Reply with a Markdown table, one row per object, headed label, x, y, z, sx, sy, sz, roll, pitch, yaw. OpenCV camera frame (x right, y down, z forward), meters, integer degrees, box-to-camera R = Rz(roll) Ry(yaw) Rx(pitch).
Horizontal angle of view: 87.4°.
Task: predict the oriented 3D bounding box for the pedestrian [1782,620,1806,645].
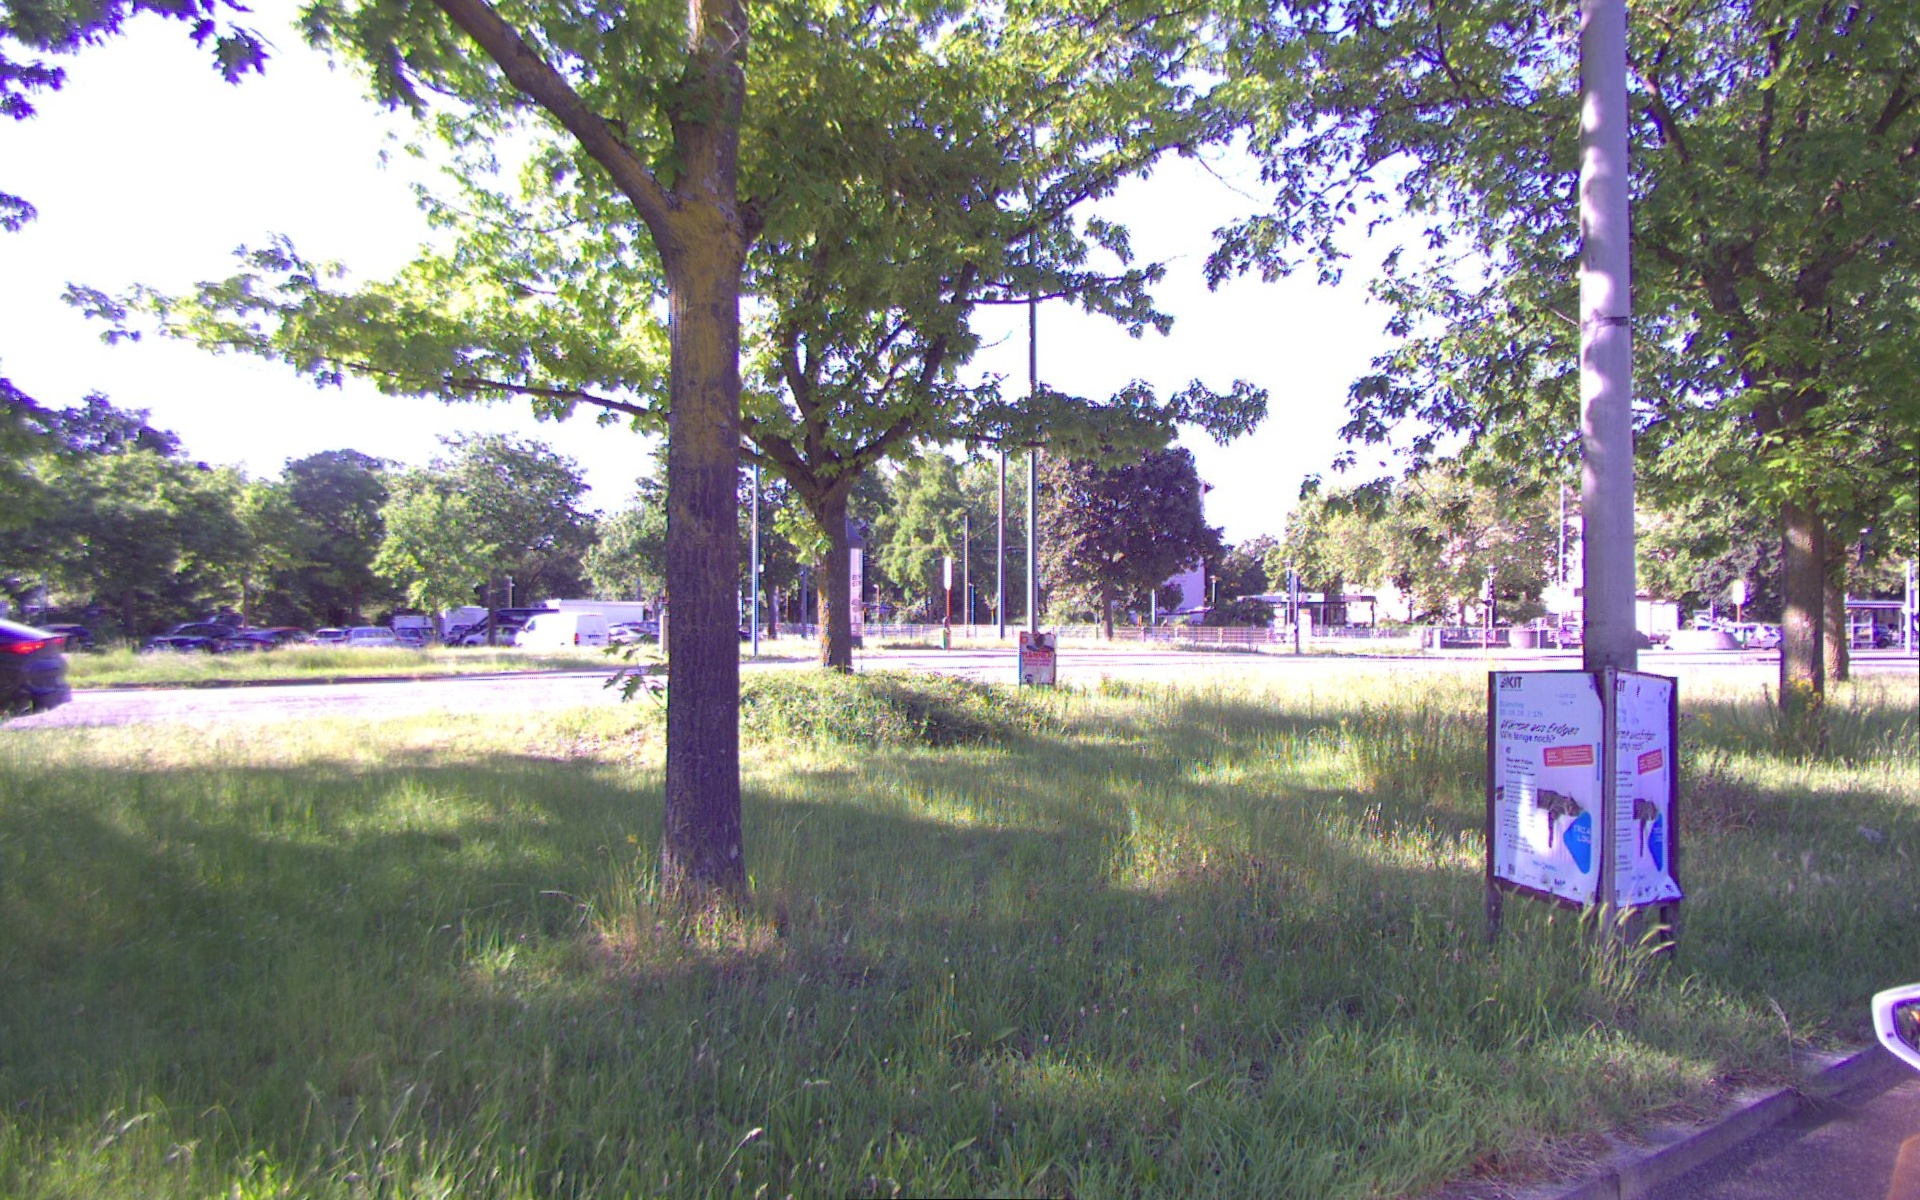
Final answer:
| label | x | y | z | sx | sy | sz | roll | pitch | yaw |
| --- | --- | --- | --- | --- | --- | --- | --- | --- | --- |
| pedestrian | 53.622 | 2.081 | 64.585 | 0.781 | 1.629 | 0.923 | 0 | -1 | 9 |

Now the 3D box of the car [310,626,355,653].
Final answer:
| label | x | y | z | sx | sy | sz | roll | pitch | yaw |
| --- | --- | --- | --- | --- | --- | --- | --- | --- | --- |
| car | -29.301 | 1.814 | 46.859 | 1.603 | 1.194 | 3.047 | 1 | -1 | -35 |

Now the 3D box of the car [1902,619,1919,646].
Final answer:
| label | x | y | z | sx | sy | sz | roll | pitch | yaw |
| --- | --- | --- | --- | --- | --- | --- | --- | --- | --- |
| car | 71.925 | 2.389 | 73.404 | 1.910 | 2.040 | 4.155 | 1 | -1 | -31 |

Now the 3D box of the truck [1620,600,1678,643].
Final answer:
| label | x | y | z | sx | sy | sz | roll | pitch | yaw |
| --- | --- | --- | --- | --- | --- | --- | --- | --- | --- |
| truck | 46.633 | 1.469 | 68.091 | 1.960 | 2.842 | 4.002 | 0 | -1 | 15 |

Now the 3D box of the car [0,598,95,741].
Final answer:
| label | x | y | z | sx | sy | sz | roll | pitch | yaw |
| --- | --- | --- | --- | --- | --- | --- | --- | --- | --- |
| car | -13.119 | 0.797 | 11.641 | 4.410 | 1.669 | 1.817 | 1 | -1 | -32 |

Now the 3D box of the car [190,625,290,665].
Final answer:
| label | x | y | z | sx | sy | sz | roll | pitch | yaw |
| --- | --- | --- | --- | --- | --- | --- | --- | --- | --- |
| car | -25.238 | 1.554 | 35.238 | 2.769 | 1.323 | 1.326 | 1 | -1 | -40 |

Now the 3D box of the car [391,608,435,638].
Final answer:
| label | x | y | z | sx | sy | sz | roll | pitch | yaw |
| --- | --- | --- | --- | --- | --- | --- | --- | --- | --- |
| car | -32.496 | 1.353 | 59.779 | 1.865 | 1.691 | 3.733 | 1 | -1 | -22 |

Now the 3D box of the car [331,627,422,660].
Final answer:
| label | x | y | z | sx | sy | sz | roll | pitch | yaw |
| --- | --- | --- | --- | --- | --- | --- | --- | --- | --- |
| car | -21.832 | 1.625 | 37.629 | 2.769 | 1.171 | 1.326 | 1 | -1 | -40 |

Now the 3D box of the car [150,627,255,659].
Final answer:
| label | x | y | z | sx | sy | sz | roll | pitch | yaw |
| --- | --- | --- | --- | --- | --- | --- | --- | --- | --- |
| car | -26.848 | 1.494 | 35.623 | 1.315 | 1.078 | 2.777 | 0 | -1 | 42 |

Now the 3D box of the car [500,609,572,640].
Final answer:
| label | x | y | z | sx | sy | sz | roll | pitch | yaw |
| --- | --- | --- | --- | --- | --- | --- | --- | --- | --- |
| car | -24.137 | 1.401 | 57.284 | 3.698 | 1.691 | 1.883 | 1 | -1 | -23 |

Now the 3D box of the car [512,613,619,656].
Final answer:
| label | x | y | z | sx | sy | sz | roll | pitch | yaw |
| --- | --- | --- | --- | --- | --- | --- | --- | --- | --- |
| car | -17.224 | 1.465 | 43.796 | 4.670 | 1.762 | 2.024 | 0 | -1 | 34 |

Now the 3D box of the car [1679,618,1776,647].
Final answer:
| label | x | y | z | sx | sy | sz | roll | pitch | yaw |
| --- | --- | --- | --- | --- | --- | --- | --- | --- | --- |
| car | 46.899 | 1.956 | 61.466 | 4.233 | 1.706 | 2.001 | 0 | -1 | 9 |

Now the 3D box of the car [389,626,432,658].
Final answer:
| label | x | y | z | sx | sy | sz | roll | pitch | yaw |
| --- | --- | --- | --- | --- | --- | --- | --- | --- | --- |
| car | -26.708 | 2.018 | 48.773 | 1.602 | 1.438 | 3.050 | 1 | -1 | -33 |

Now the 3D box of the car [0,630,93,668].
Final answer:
| label | x | y | z | sx | sy | sz | roll | pitch | yaw |
| --- | --- | --- | --- | --- | --- | --- | --- | --- | --- |
| car | -47.666 | 2.484 | 51.896 | 1.966 | 1.817 | 3.990 | 0 | -1 | 32 |

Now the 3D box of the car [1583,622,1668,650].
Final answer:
| label | x | y | z | sx | sy | sz | roll | pitch | yaw |
| --- | --- | --- | --- | --- | --- | --- | --- | --- | --- |
| car | 41.410 | 2.241 | 62.566 | 3.919 | 1.706 | 2.001 | 0 | -1 | 9 |

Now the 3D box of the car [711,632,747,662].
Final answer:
| label | x | y | z | sx | sy | sz | roll | pitch | yaw |
| --- | --- | --- | --- | --- | --- | --- | --- | --- | --- |
| car | -12.038 | 2.444 | 52.483 | 1.589 | 1.438 | 3.073 | 0 | -1 | -8 |
